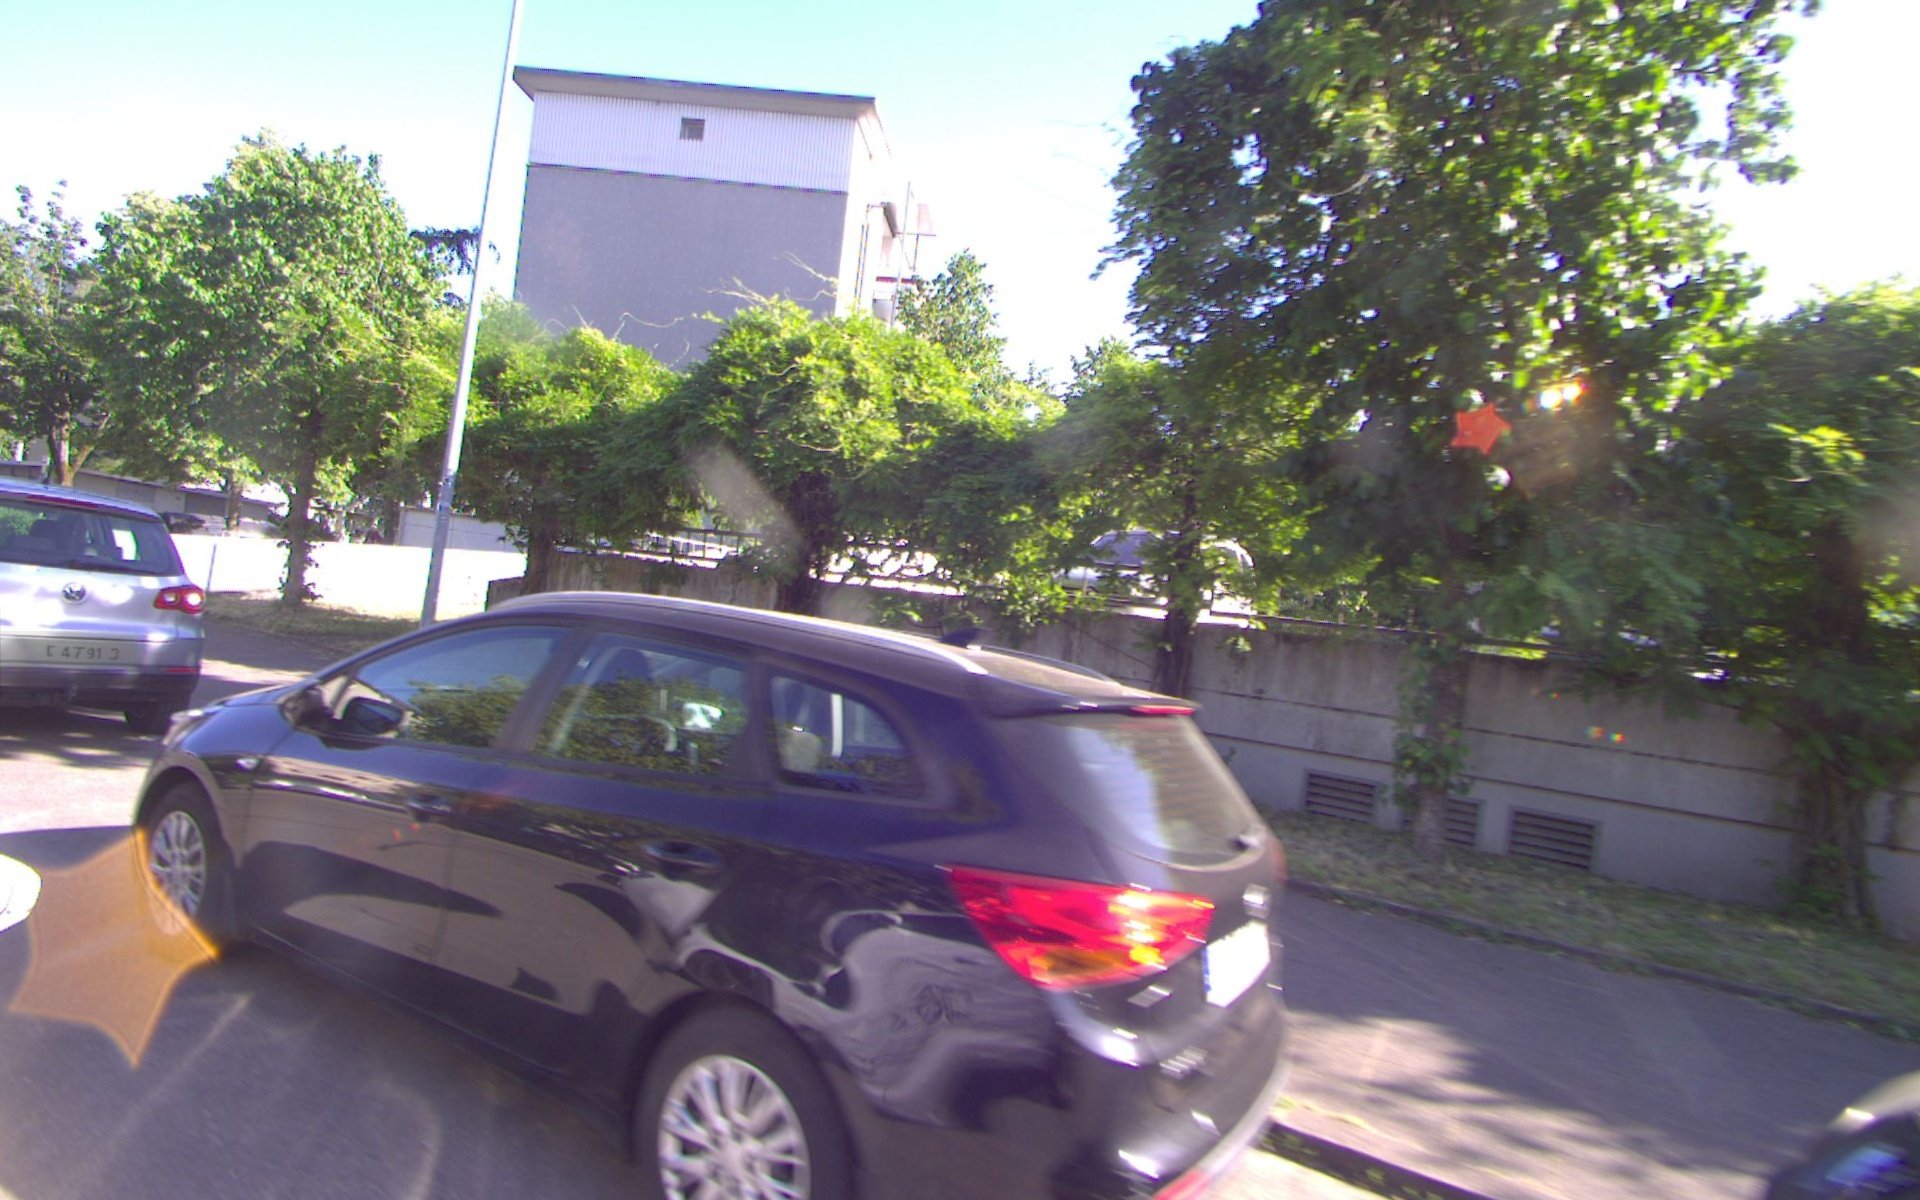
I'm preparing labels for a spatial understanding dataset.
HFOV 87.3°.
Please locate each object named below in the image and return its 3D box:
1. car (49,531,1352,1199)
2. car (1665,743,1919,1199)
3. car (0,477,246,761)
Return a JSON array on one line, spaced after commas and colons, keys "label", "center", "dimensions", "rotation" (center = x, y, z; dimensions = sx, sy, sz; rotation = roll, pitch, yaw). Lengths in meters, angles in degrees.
[{"label": "car", "center": [-1.081, 0.762, 3.455], "dimensions": [4.218, 1.473, 1.686], "rotation": [6, -2, 30]}, {"label": "car", "center": [3.156, 1.215, 1.022], "dimensions": [3.760, 1.504, 1.689], "rotation": [6, -3, 30]}, {"label": "car", "center": [-7.142, -0.052, 7.168], "dimensions": [4.163, 1.638, 1.733], "rotation": [6, -1, 31]}]
